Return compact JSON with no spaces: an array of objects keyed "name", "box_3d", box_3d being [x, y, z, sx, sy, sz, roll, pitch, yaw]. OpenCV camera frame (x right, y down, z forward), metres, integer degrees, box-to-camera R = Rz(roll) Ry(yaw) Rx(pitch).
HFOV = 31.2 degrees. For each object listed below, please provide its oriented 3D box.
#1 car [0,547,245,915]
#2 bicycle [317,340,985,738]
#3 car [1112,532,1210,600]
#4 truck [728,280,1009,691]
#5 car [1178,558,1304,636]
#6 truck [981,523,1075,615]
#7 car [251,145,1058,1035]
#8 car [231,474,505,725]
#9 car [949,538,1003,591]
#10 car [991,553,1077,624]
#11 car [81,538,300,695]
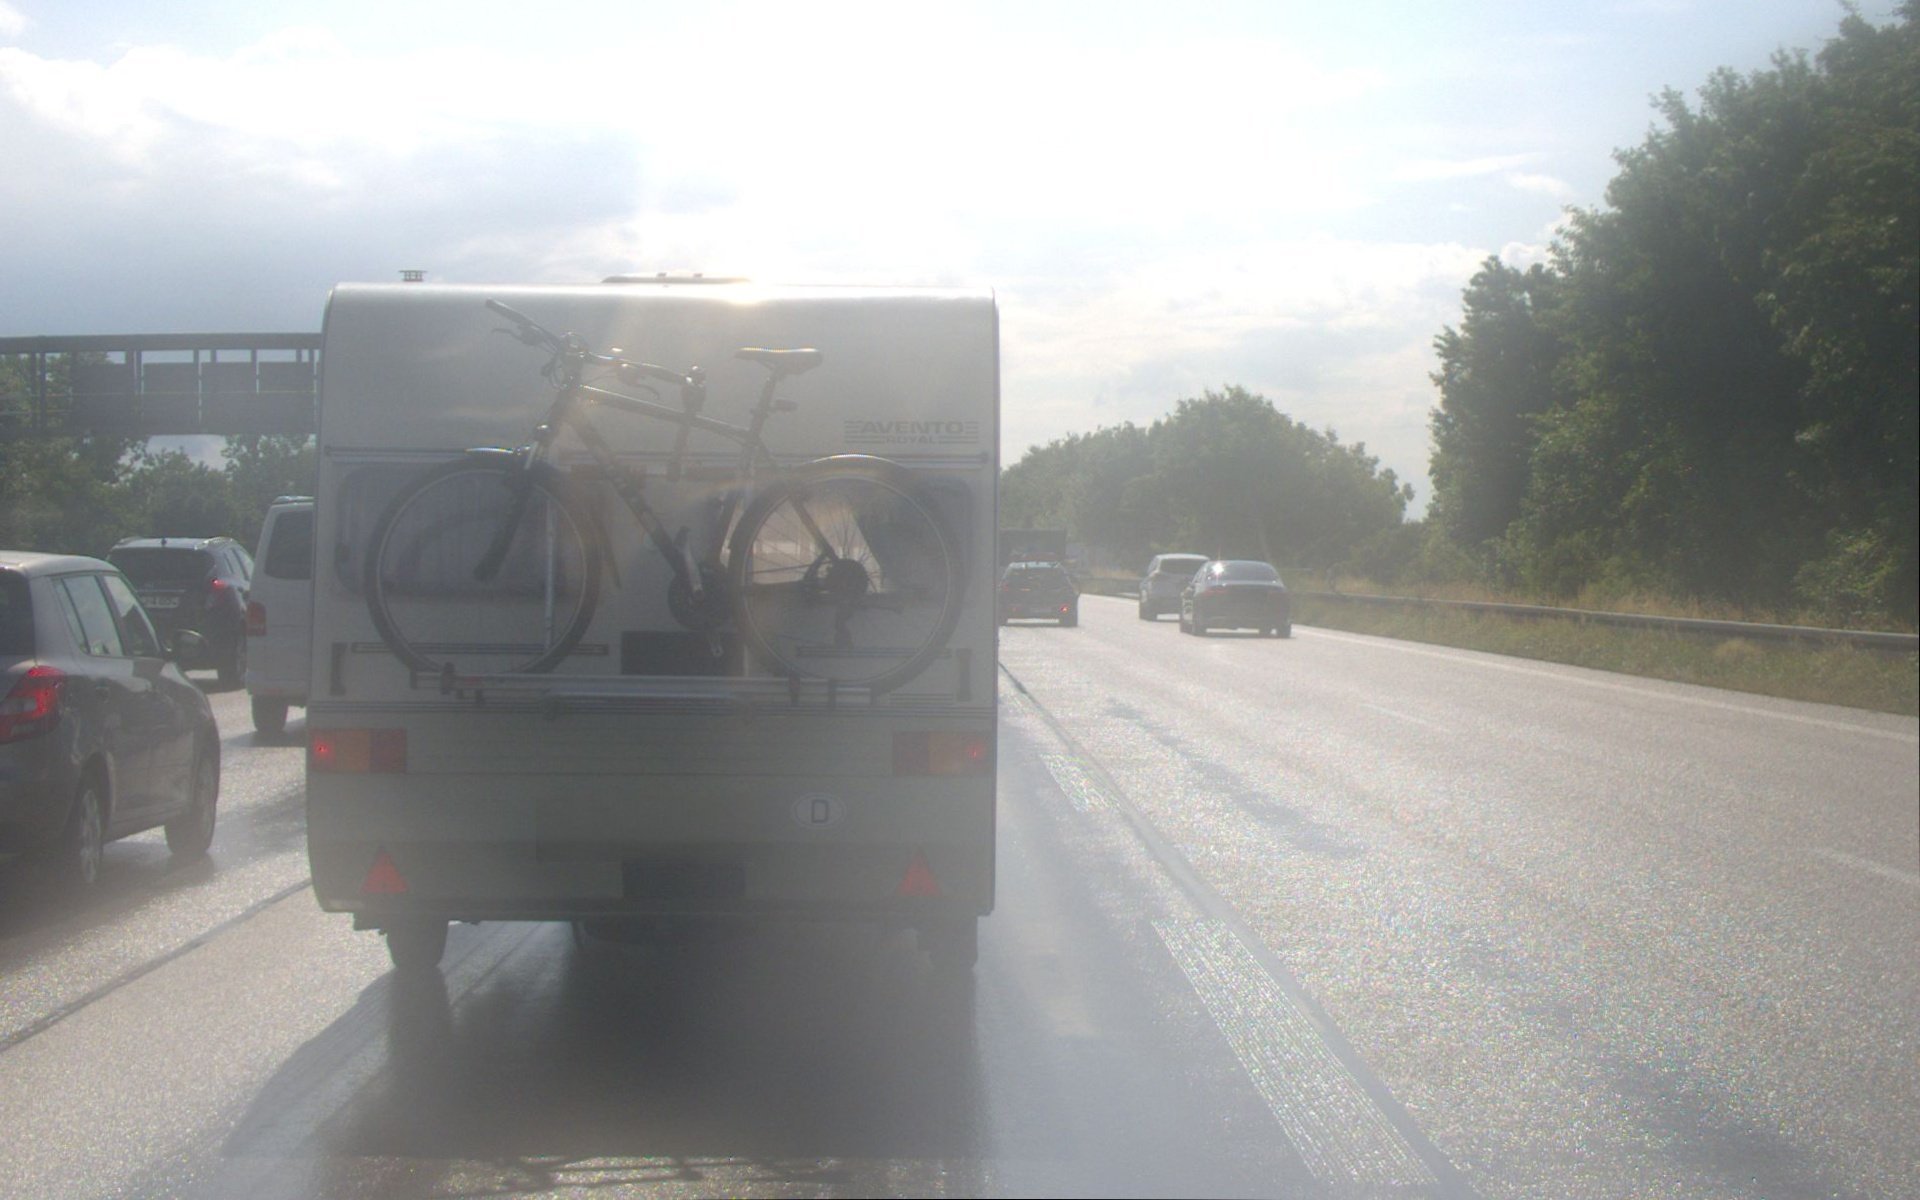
[{"name":"car","box_3d":[-4.631,0.487,15.577,1.987,1.453,3.826,0,1,0]},{"name":"bicycle","box_3d":[-0.903,-0.180,10.227,1.933,1.137,0.384,1,0,0]},{"name":"car","box_3d":[4.986,-0.854,85.820,1.876,1.623,4.001,1,0,-5]},{"name":"truck","box_3d":[-1.201,-1.352,44.106,3.146,4.610,10.737,0,1,-2]},{"name":"car","box_3d":[5.593,-0.075,68.866,1.876,1.489,4.001,1,1,-5]},{"name":"truck","box_3d":[1.833,-0.863,94.669,2.415,2.435,6.053,0,1,0]},{"name":"car","box_3d":[-0.930,-0.048,12.410,2.410,2.665,4.000,1,0,0]},{"name":"car","box_3d":[-5.060,-0.020,29.856,1.876,2.007,4.001,1,0,-3]},{"name":"car","box_3d":[0.509,-1.171,111.700,1.719,1.678,4.000,0,1,0]},{"name":"car","box_3d":[1.654,-0.279,78.190,1.835,1.552,4.000,1,0,0]},{"name":"car","box_3d":[-8.617,0.153,38.781,1.771,1.656,4.001,1,0,-3]}]
